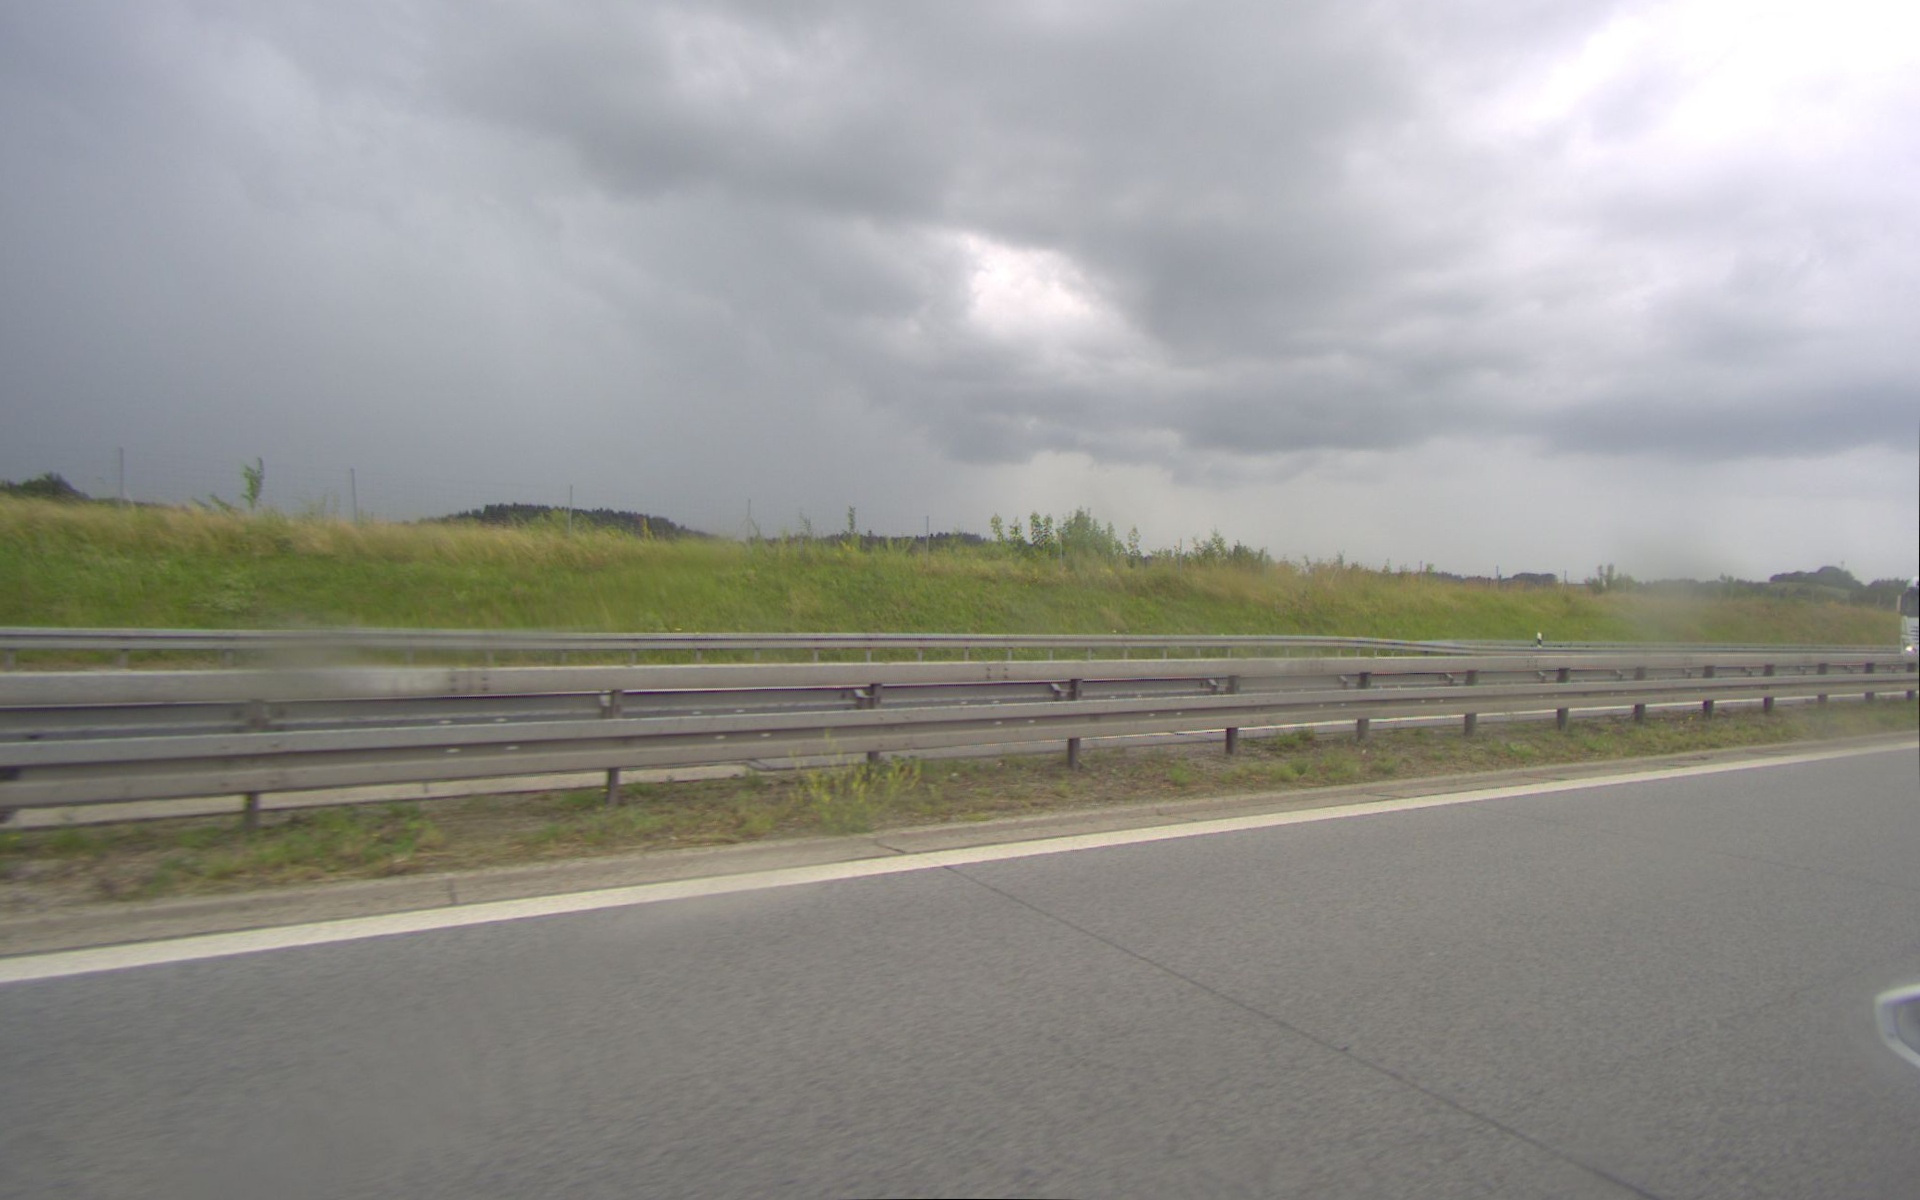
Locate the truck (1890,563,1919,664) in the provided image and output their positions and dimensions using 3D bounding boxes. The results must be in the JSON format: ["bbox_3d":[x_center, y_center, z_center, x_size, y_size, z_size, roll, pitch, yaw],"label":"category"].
[{"bbox_3d":[40.337,0.605,40.641,5.524,3.977,2.579,2,-1,-31],"label":"truck"}]

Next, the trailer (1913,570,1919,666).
[{"bbox_3d":[45.990,0.901,44.098,13.545,3.977,2.577,2,-1,-31],"label":"trailer"}]
